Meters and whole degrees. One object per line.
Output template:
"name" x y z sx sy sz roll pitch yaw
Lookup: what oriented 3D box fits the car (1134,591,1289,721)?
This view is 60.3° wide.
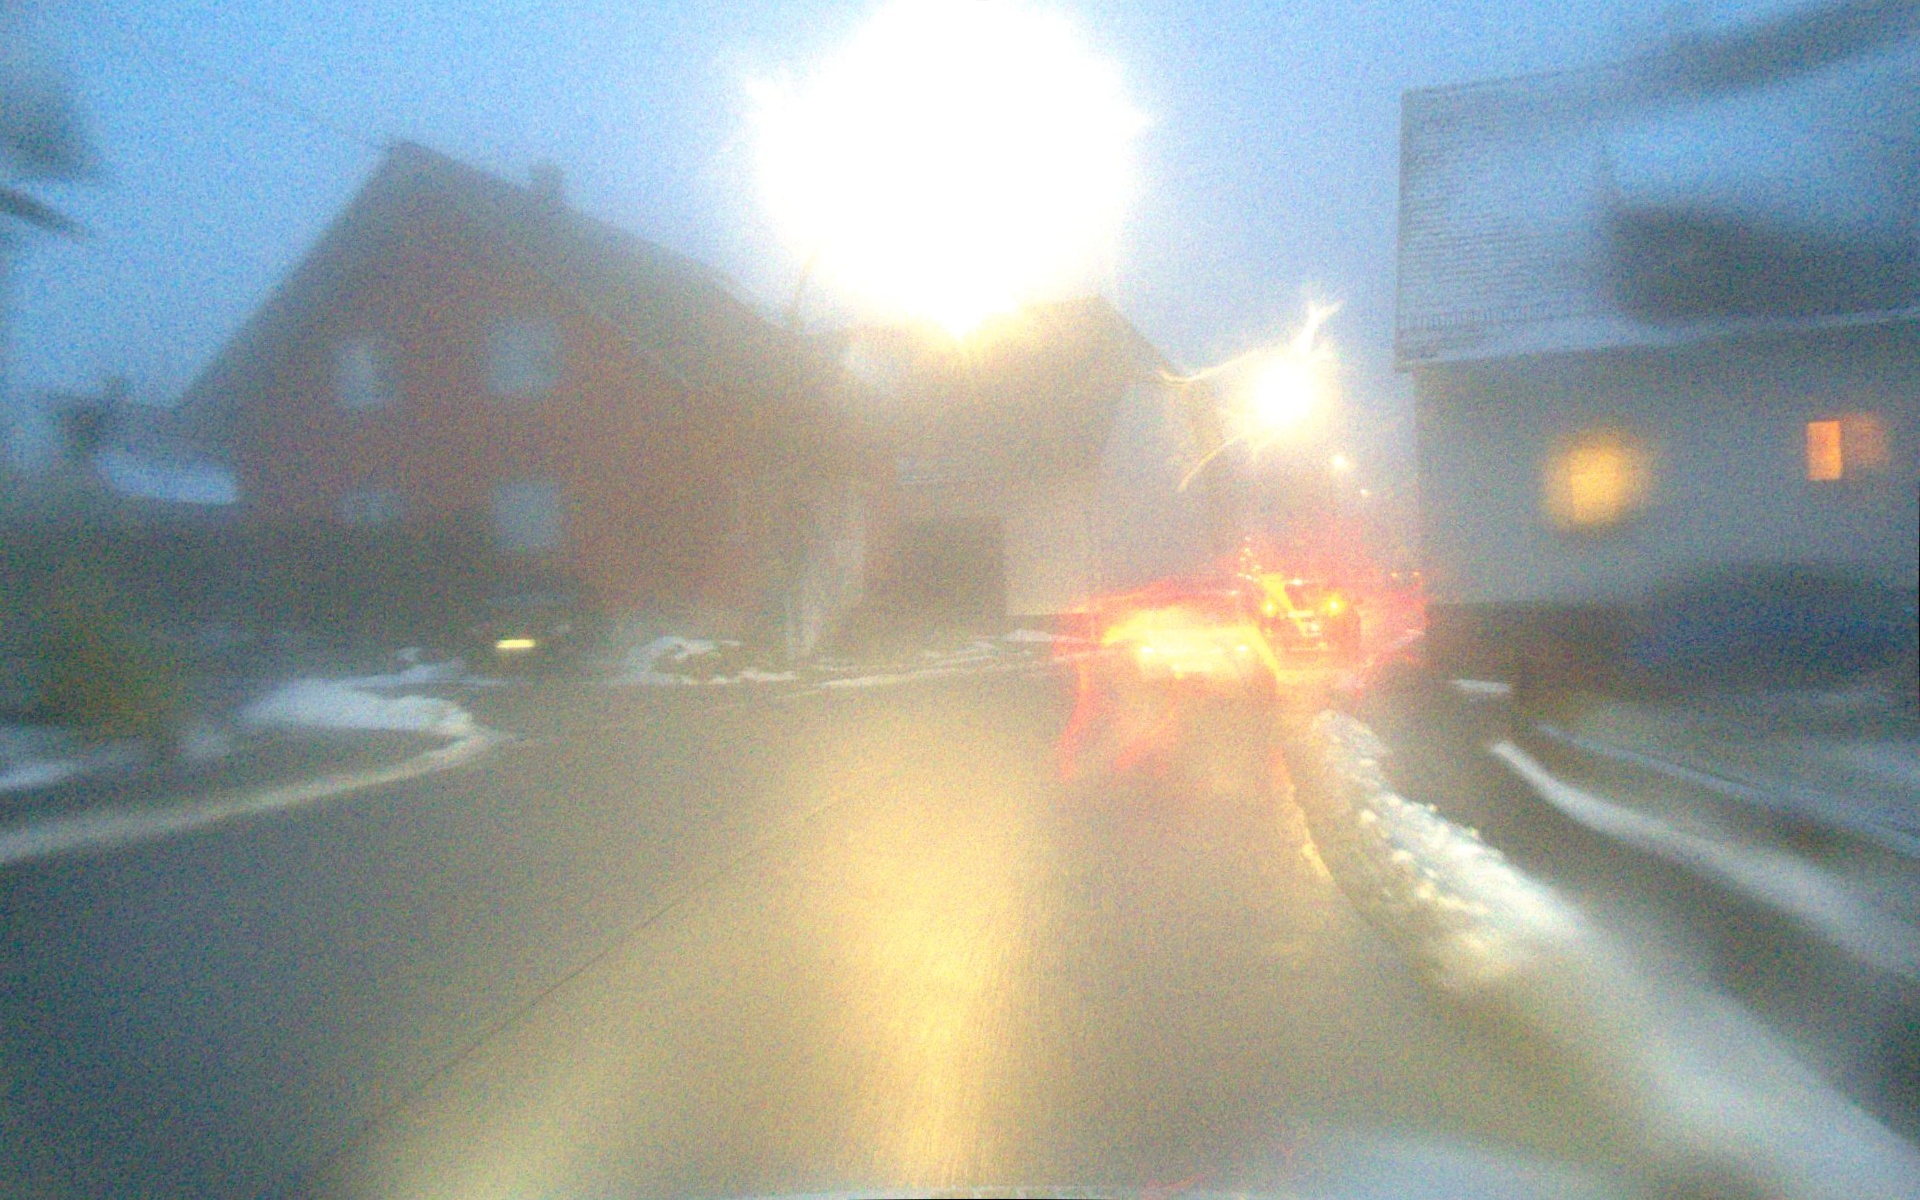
"car" 3.531 0.725 22.752 1.610 1.624 3.701 0 -1 17

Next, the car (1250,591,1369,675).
"car" 7.259 0.664 34.116 1.613 1.624 3.697 -1 -1 25

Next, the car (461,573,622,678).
"car" -6.542 0.411 26.240 1.837 1.530 3.995 0 -1 -5

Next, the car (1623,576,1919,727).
"car" 10.055 0.580 19.523 3.902 1.624 1.912 1 0 15
